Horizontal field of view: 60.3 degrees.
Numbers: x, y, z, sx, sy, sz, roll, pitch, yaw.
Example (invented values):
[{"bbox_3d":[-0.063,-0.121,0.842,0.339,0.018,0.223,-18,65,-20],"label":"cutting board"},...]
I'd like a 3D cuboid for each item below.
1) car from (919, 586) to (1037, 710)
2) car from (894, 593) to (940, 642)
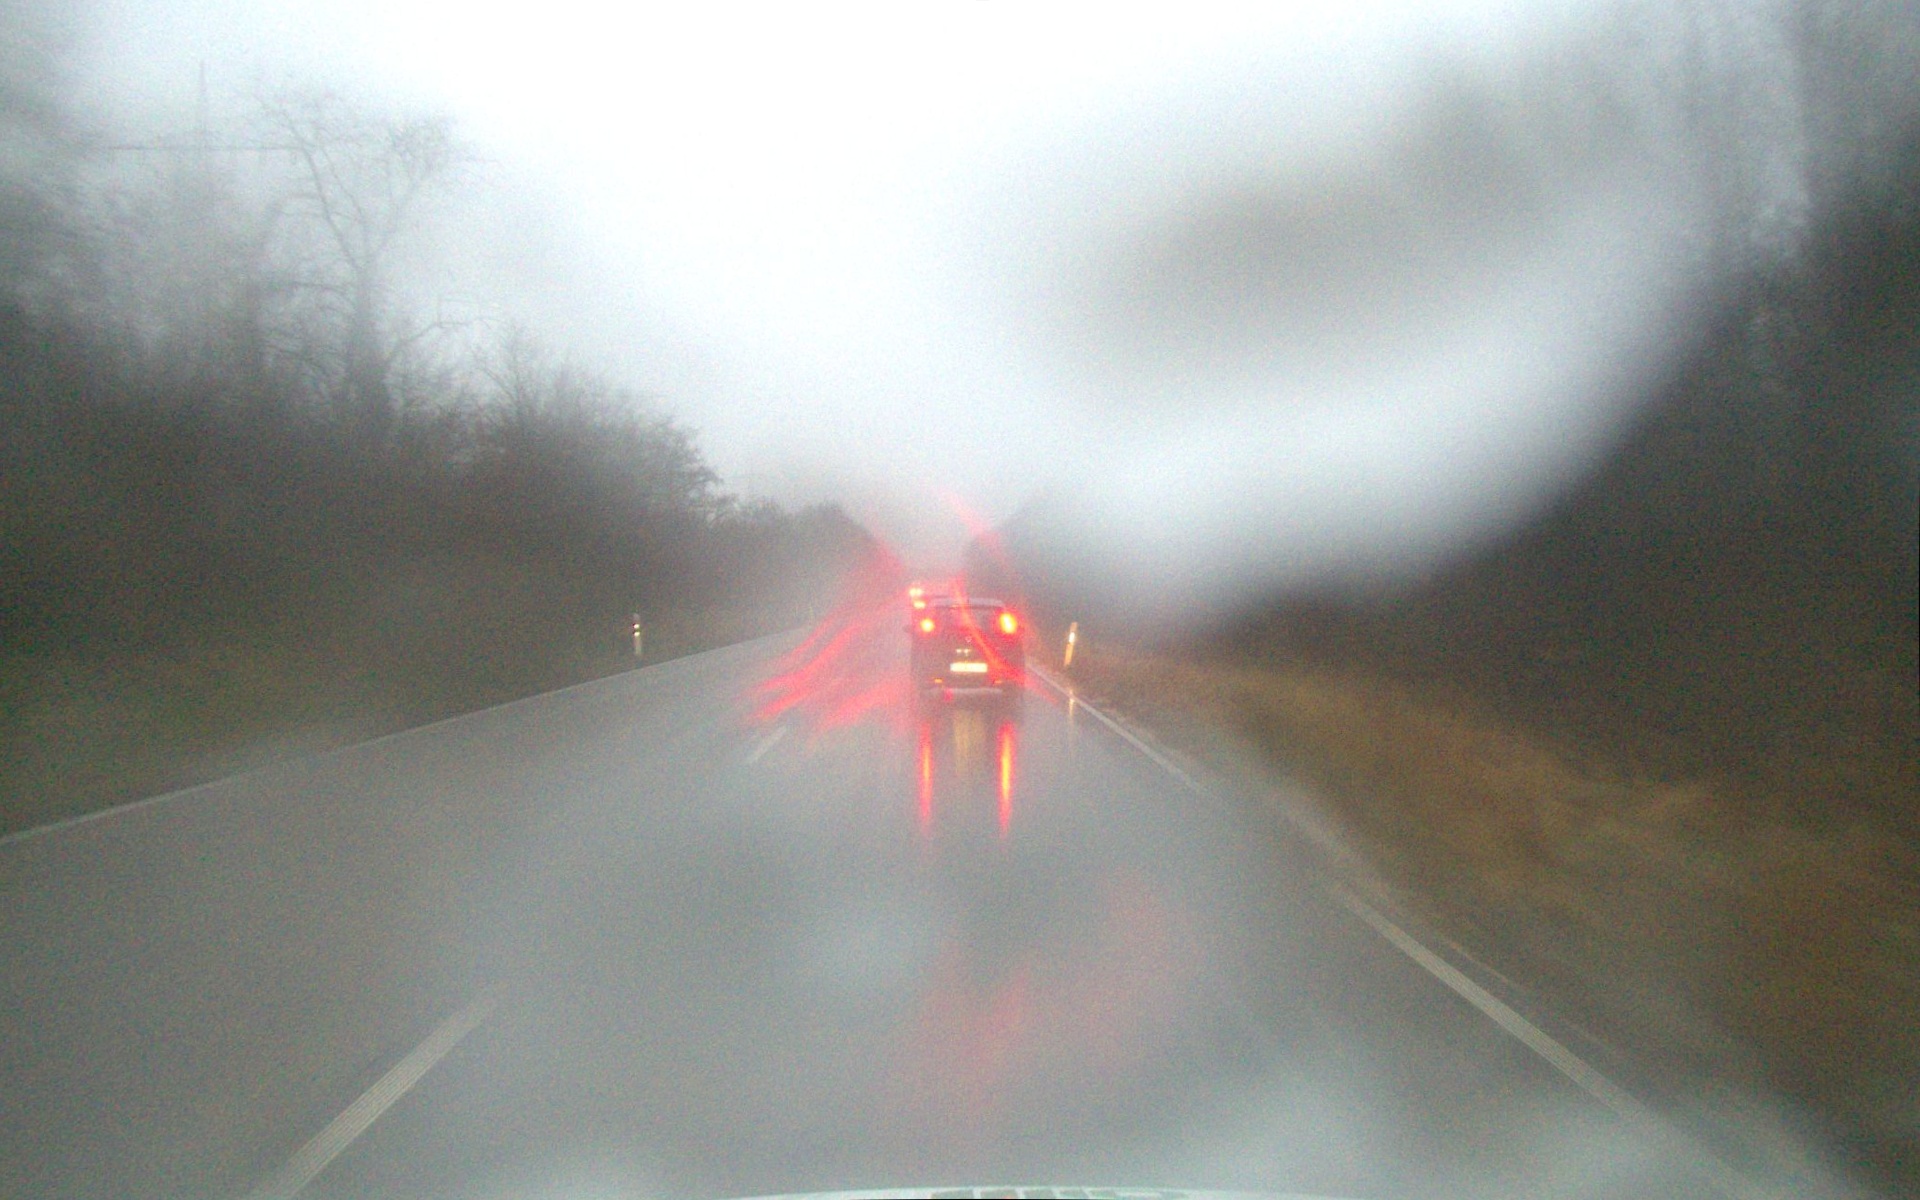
[{"bbox_3d":[0.222,0.672,24.805,1.614,1.701,3.513,1,0,-1],"label":"car"},{"bbox_3d":[-1.681,0.672,64.607,1.698,1.810,3.999,1,0,-1],"label":"car"}]
